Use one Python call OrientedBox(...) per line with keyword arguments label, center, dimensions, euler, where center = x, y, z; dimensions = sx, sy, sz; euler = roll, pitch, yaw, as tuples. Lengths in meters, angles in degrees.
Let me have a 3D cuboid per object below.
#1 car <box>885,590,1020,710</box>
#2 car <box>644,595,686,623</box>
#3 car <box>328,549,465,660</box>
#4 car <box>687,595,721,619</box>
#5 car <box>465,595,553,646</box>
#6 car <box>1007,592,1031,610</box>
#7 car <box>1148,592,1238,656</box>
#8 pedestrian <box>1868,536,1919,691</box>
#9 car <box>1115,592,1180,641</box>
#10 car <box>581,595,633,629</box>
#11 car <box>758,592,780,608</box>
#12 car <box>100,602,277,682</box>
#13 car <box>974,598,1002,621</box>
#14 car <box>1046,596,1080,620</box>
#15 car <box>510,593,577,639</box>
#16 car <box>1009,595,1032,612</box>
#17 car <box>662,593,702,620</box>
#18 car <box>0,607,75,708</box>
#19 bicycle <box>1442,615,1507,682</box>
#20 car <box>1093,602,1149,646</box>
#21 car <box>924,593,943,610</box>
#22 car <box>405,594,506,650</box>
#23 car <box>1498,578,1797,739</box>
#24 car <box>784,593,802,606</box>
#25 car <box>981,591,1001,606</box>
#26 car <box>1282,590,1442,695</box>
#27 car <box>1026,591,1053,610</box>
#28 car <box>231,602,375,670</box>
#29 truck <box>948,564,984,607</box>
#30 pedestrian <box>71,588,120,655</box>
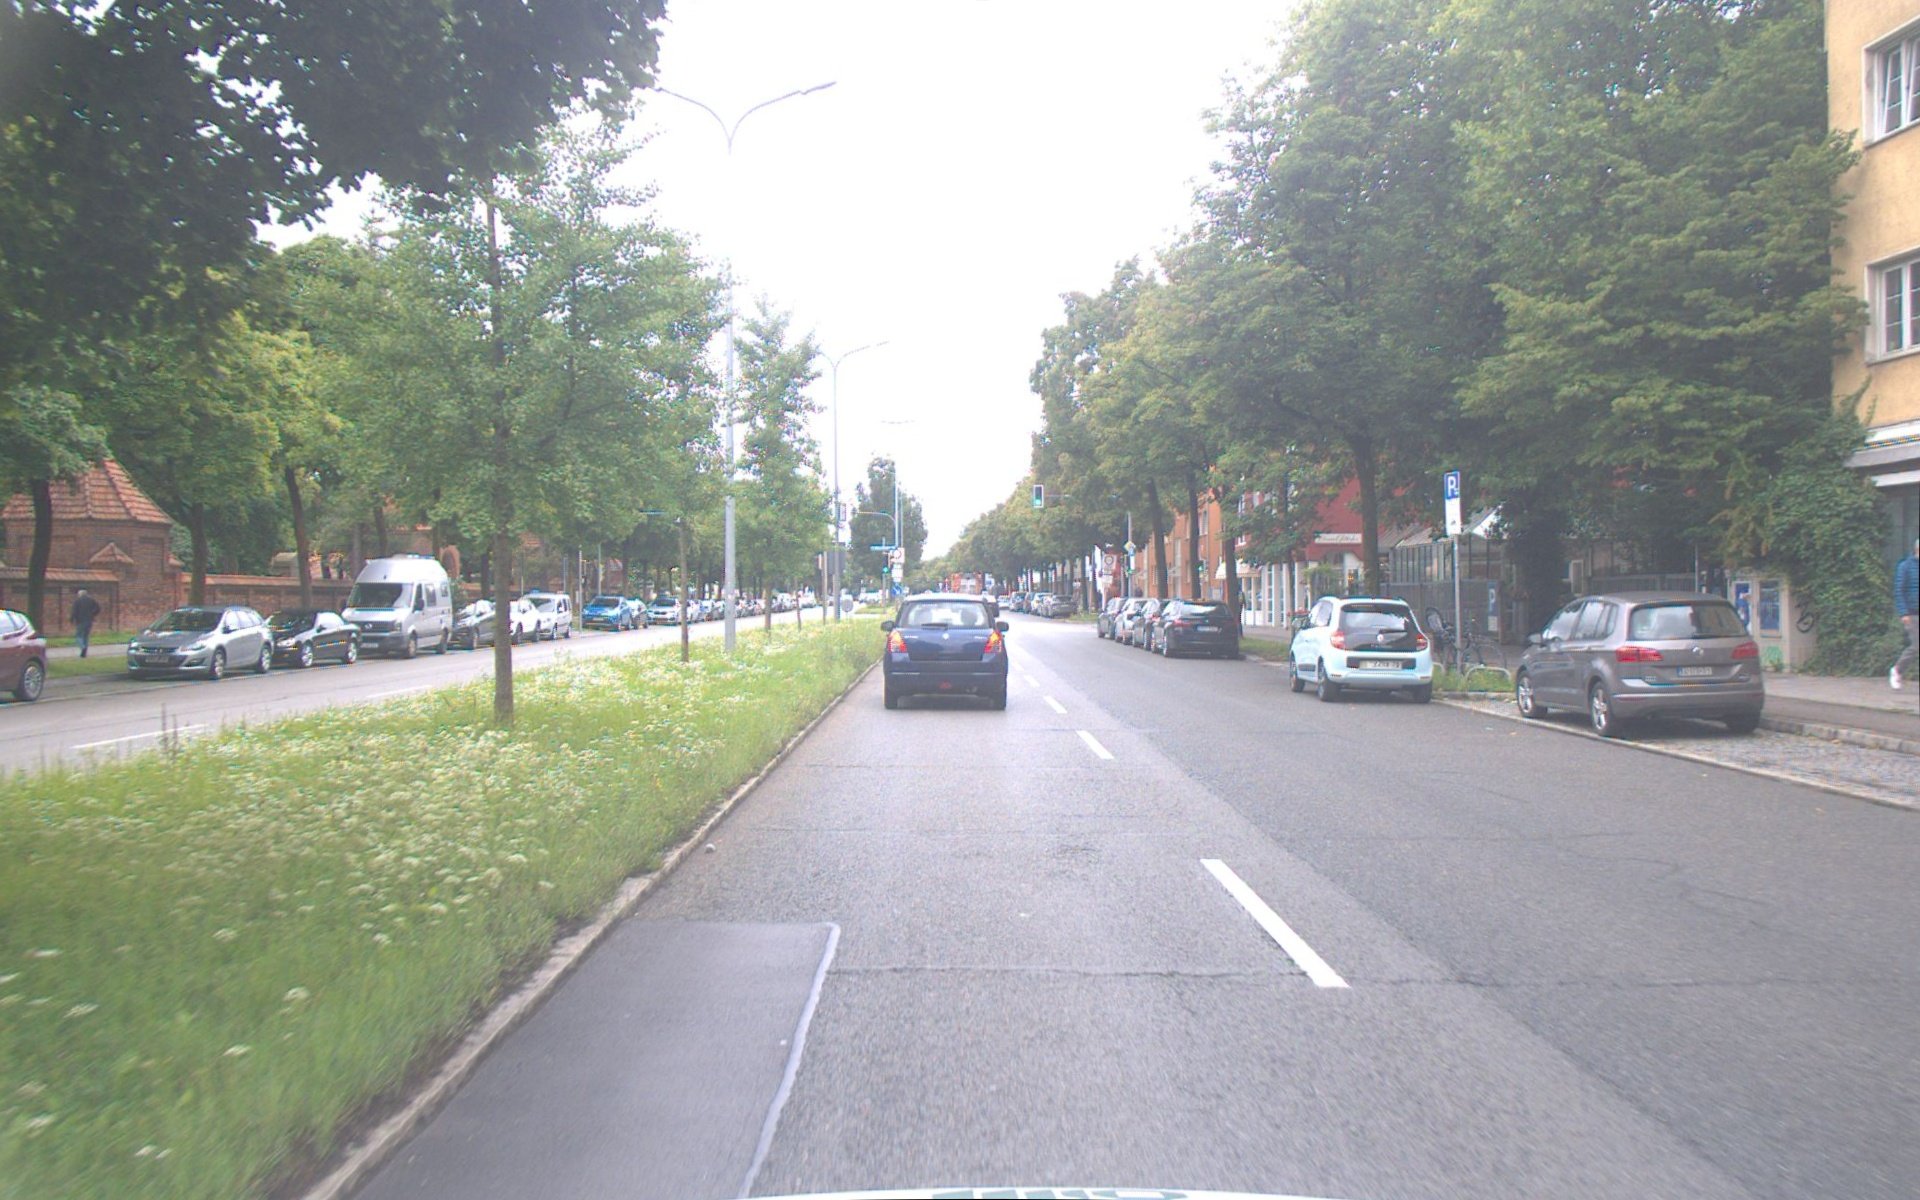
OrientedBox(label="car", center=(-0.088, 0.633, 23.236), dimensions=(1.717, 1.531, 4.000), euler=(0, 0, 0))
OrientedBox(label="car", center=(-17.186, 0.532, 96.640), dimensions=(1.765, 1.561, 3.999), euler=(-1, 0, -1))
OrientedBox(label="car", center=(-16.299, 0.106, 48.200), dimensions=(2.142, 3.005, 6.188), euler=(0, 0, -3))
OrientedBox(label="car", center=(-17.534, 0.475, 113.453), dimensions=(1.765, 1.561, 3.999), euler=(0, 0, -1))
OrientedBox(label="car", center=(-16.373, 0.721, 60.311), dimensions=(2.142, 1.766, 4.575), euler=(0, 0, -3))
OrientedBox(label="car", center=(5.304, 0.086, 149.211), dimensions=(1.953, 1.557, 3.999), euler=(-1, 0, -1))
OrientedBox(label="car", center=(5.932, 0.567, 42.578), dimensions=(1.620, 1.477, 4.708), euler=(-2, 1, 0))
OrientedBox(label="pedestrian", center=(11.910, 0.151, 20.533), dimensions=(0.776, 1.888, 0.776), euler=(-2, 0, -3))
OrientedBox(label="car", center=(5.947, 0.496, 52.779), dimensions=(1.660, 1.477, 4.123), euler=(-1, 0, 1))
OrientedBox(label="car", center=(-16.995, 0.541, 79.686), dimensions=(1.671, 1.561, 3.999), euler=(-1, 0, -1))
OrientedBox(label="car", center=(-19.282, 0.008, 167.092), dimensions=(1.765, 1.561, 3.999), euler=(-1, 0, -1))
OrientedBox(label="car", center=(-16.338, 0.842, 35.284), dimensions=(1.777, 1.563, 4.440), euler=(0, 0, -1))
OrientedBox(label="car", center=(1.892, 0.658, 113.768), dimensions=(1.784, 1.503, 4.690), euler=(2, 0, -1))
OrientedBox(label="car", center=(6.721, 0.510, 108.553), dimensions=(1.953, 1.557, 3.999), euler=(-1, 0, -1))
OrientedBox(label="car", center=(-16.474, 0.609, 65.529), dimensions=(1.671, 1.764, 3.999), euler=(-1, 0, -1))
OrientedBox(label="car", center=(5.633, 0.309, 154.504), dimensions=(1.953, 1.557, 3.999), euler=(0, 0, -1))
OrientedBox(label="car", center=(-16.963, 0.390, 101.042), dimensions=(1.765, 1.561, 3.999), euler=(-1, 0, -1))
OrientedBox(label="car", center=(-15.885, 0.907, 25.953), dimensions=(1.777, 1.563, 4.297), euler=(0, 0, -1))
OrientedBox(label="bicycle", center=(8.114, 0.750, 26.132), dimensions=(0.439, 0.997, 1.798), euler=(0, 0, -1))
OrientedBox(label="car", center=(5.704, 0.831, 58.891), dimensions=(1.660, 1.477, 4.123), euler=(-1, 0, 1))
OrientedBox(label="car", center=(-2.430, 0.162, 150.490), dimensions=(1.683, 1.527, 4.300), euler=(0, 0, -1))
OrientedBox(label="car", center=(-16.702, 0.708, 54.947), dimensions=(2.142, 1.766, 4.575), euler=(0, 0, -3))
OrientedBox(label="car", center=(8.040, 0.606, 19.815), dimensions=(1.778, 1.654, 4.308), euler=(-2, 0, 0))
OrientedBox(label="car", center=(-20.089, -0.108, 198.870), dimensions=(1.765, 1.561, 3.999), euler=(0, 0, -1))
OrientedBox(label="car", center=(3.234, -0.194, 172.316), dimensions=(1.953, 1.557, 3.999), euler=(-1, 0, -1))
OrientedBox(label="car", center=(6.209, 0.606, 25.946), dimensions=(1.619, 1.477, 4.001), euler=(-1, 0, 2))
OrientedBox(label="car", center=(6.601, 0.019, 137.463), dimensions=(1.953, 1.557, 3.999), euler=(-1, 0, -1))
OrientedBox(label="car", center=(-16.339, 0.849, 41.386), dimensions=(1.777, 1.563, 4.818), euler=(0, 0, -1))
OrientedBox(label="truck", center=(0.535, -1.240, 146.109), dimensions=(2.979, 3.619, 13.674), euler=(0, 0, 0))
OrientedBox(label="pedestrian", center=(-20.731, 0.513, 39.671), dimensions=(0.761, 1.594, 0.792), euler=(0, 0, 35))
